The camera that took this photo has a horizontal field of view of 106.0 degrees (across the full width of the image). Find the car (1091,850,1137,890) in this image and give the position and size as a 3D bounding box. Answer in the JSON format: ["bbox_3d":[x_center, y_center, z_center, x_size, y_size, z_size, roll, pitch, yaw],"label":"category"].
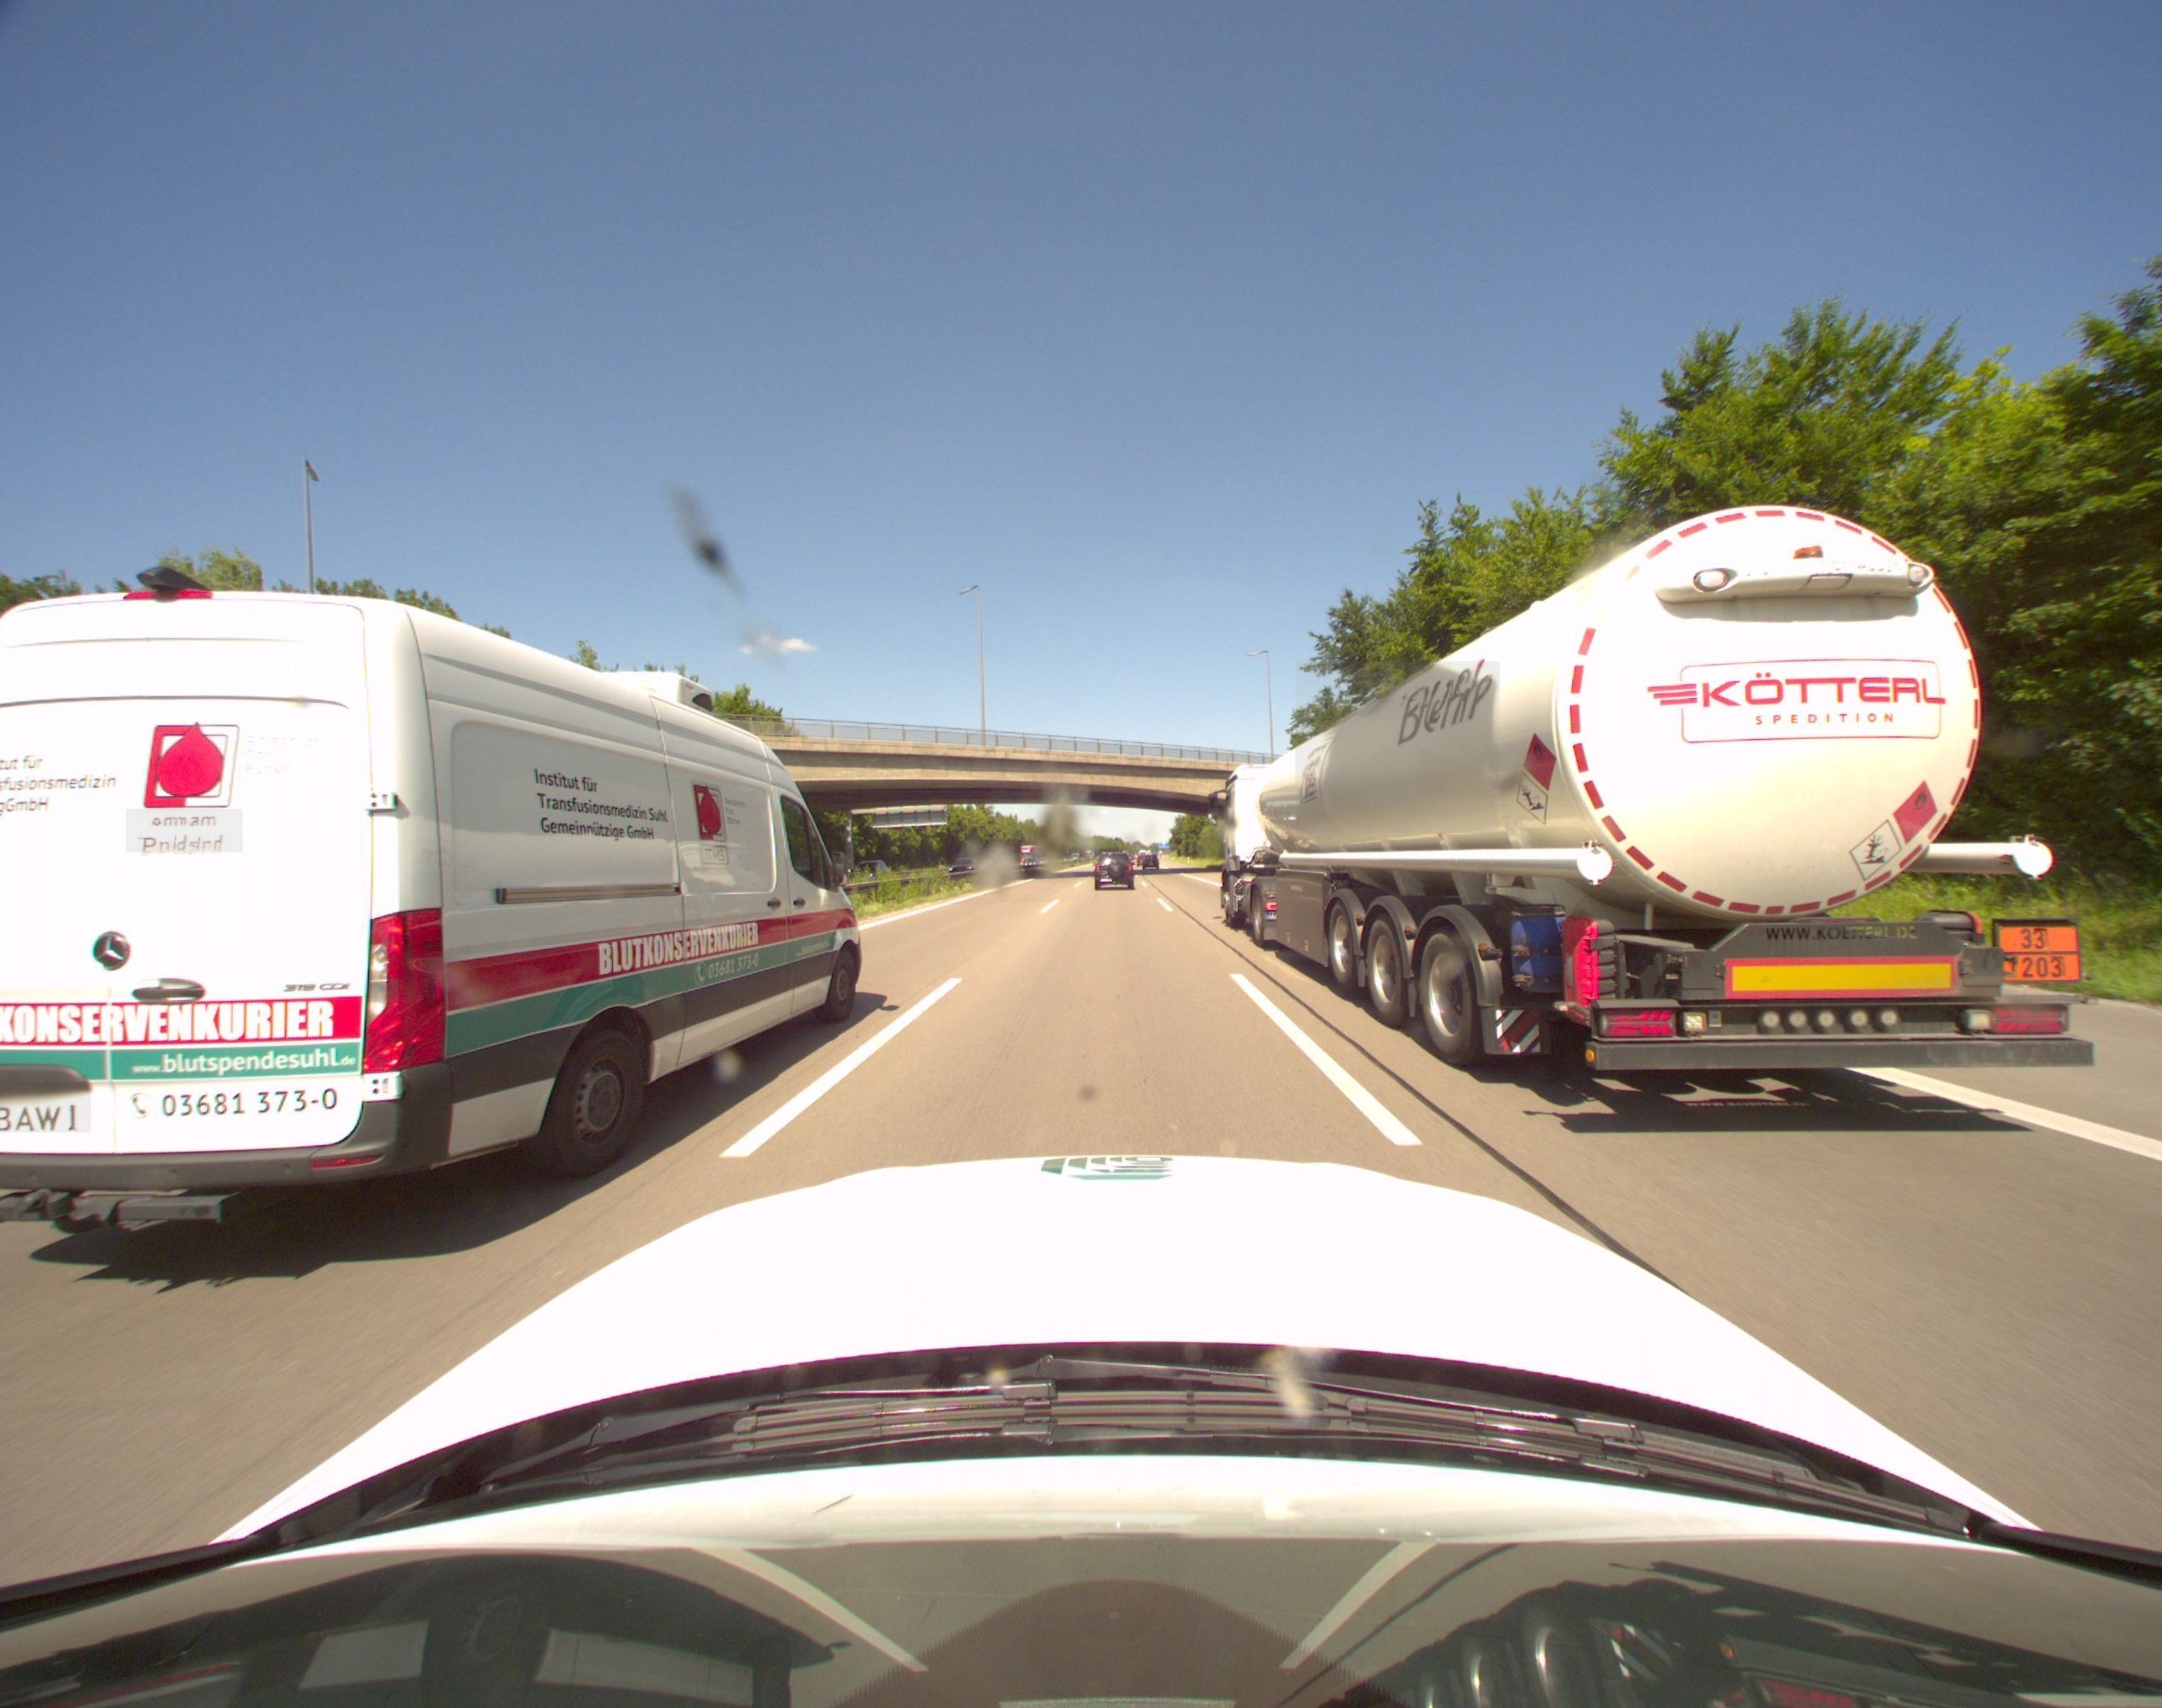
[{"bbox_3d":[1.432,0.695,36.927,1.900,1.665,4.000,-2,0,0],"label":"car"}]

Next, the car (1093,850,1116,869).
[{"bbox_3d":[2.337,0.504,80.291,1.985,1.706,4.340,-3,0,3],"label":"car"}]

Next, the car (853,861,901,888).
[{"bbox_3d":[-13.181,1.298,52.856,1.892,1.641,4.001,-2,-1,2],"label":"car"}]

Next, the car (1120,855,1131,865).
[{"bbox_3d":[8.792,1.147,160.859,1.986,2.013,4.770,-2,0,2],"label":"car"}]

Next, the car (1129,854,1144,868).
[{"bbox_3d":[7.180,0.931,105.309,1.835,1.611,4.002,-2,-1,2],"label":"car"}]

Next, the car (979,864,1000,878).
[{"bbox_3d":[-11.006,2.063,98.506,1.852,1.527,4.216,-2,0,2],"label":"car"}]

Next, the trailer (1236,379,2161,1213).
[{"bbox_3d":[3.904,-0.225,8.911,2.638,3.390,11.157,-1,0,2],"label":"trailer"}]

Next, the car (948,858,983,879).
[{"bbox_3d":[-8.931,1.109,63.259,1.852,1.527,4.754,-2,0,2],"label":"car"}]

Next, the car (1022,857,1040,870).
[{"bbox_3d":[-6.454,1.194,106.045,1.768,1.473,4.422,-4,0,2],"label":"car"}]

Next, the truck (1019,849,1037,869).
[{"bbox_3d":[-11.002,1.017,169.137,2.773,4.060,6.215,-4,0,3],"label":"truck"}]

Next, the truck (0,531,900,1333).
[{"bbox_3d":[-3.204,0.251,5.953,1.986,2.542,6.696,0,0,2],"label":"truck"}]

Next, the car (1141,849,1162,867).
[{"bbox_3d":[7.400,0.444,85.684,1.985,1.684,4.003,-2,-1,3],"label":"car"}]

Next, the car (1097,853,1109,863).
[{"bbox_3d":[4.389,0.798,161.188,1.985,2.013,4.954,-3,0,3],"label":"car"}]

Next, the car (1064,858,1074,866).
[{"bbox_3d":[-2.510,1.680,173.851,1.874,1.483,4.438,-2,0,3],"label":"car"}]

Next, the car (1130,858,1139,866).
[{"bbox_3d":[12.881,1.906,195.174,1.986,1.750,4.206,-2,0,1],"label":"car"}]

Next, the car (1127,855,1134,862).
[{"bbox_3d":[13.970,1.201,228.367,1.806,1.746,4.001,-2,0,1],"label":"car"}]

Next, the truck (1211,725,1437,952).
[{"bbox_3d":[4.172,-0.221,15.533,2.627,3.375,6.492,-1,0,3],"label":"truck"}]
